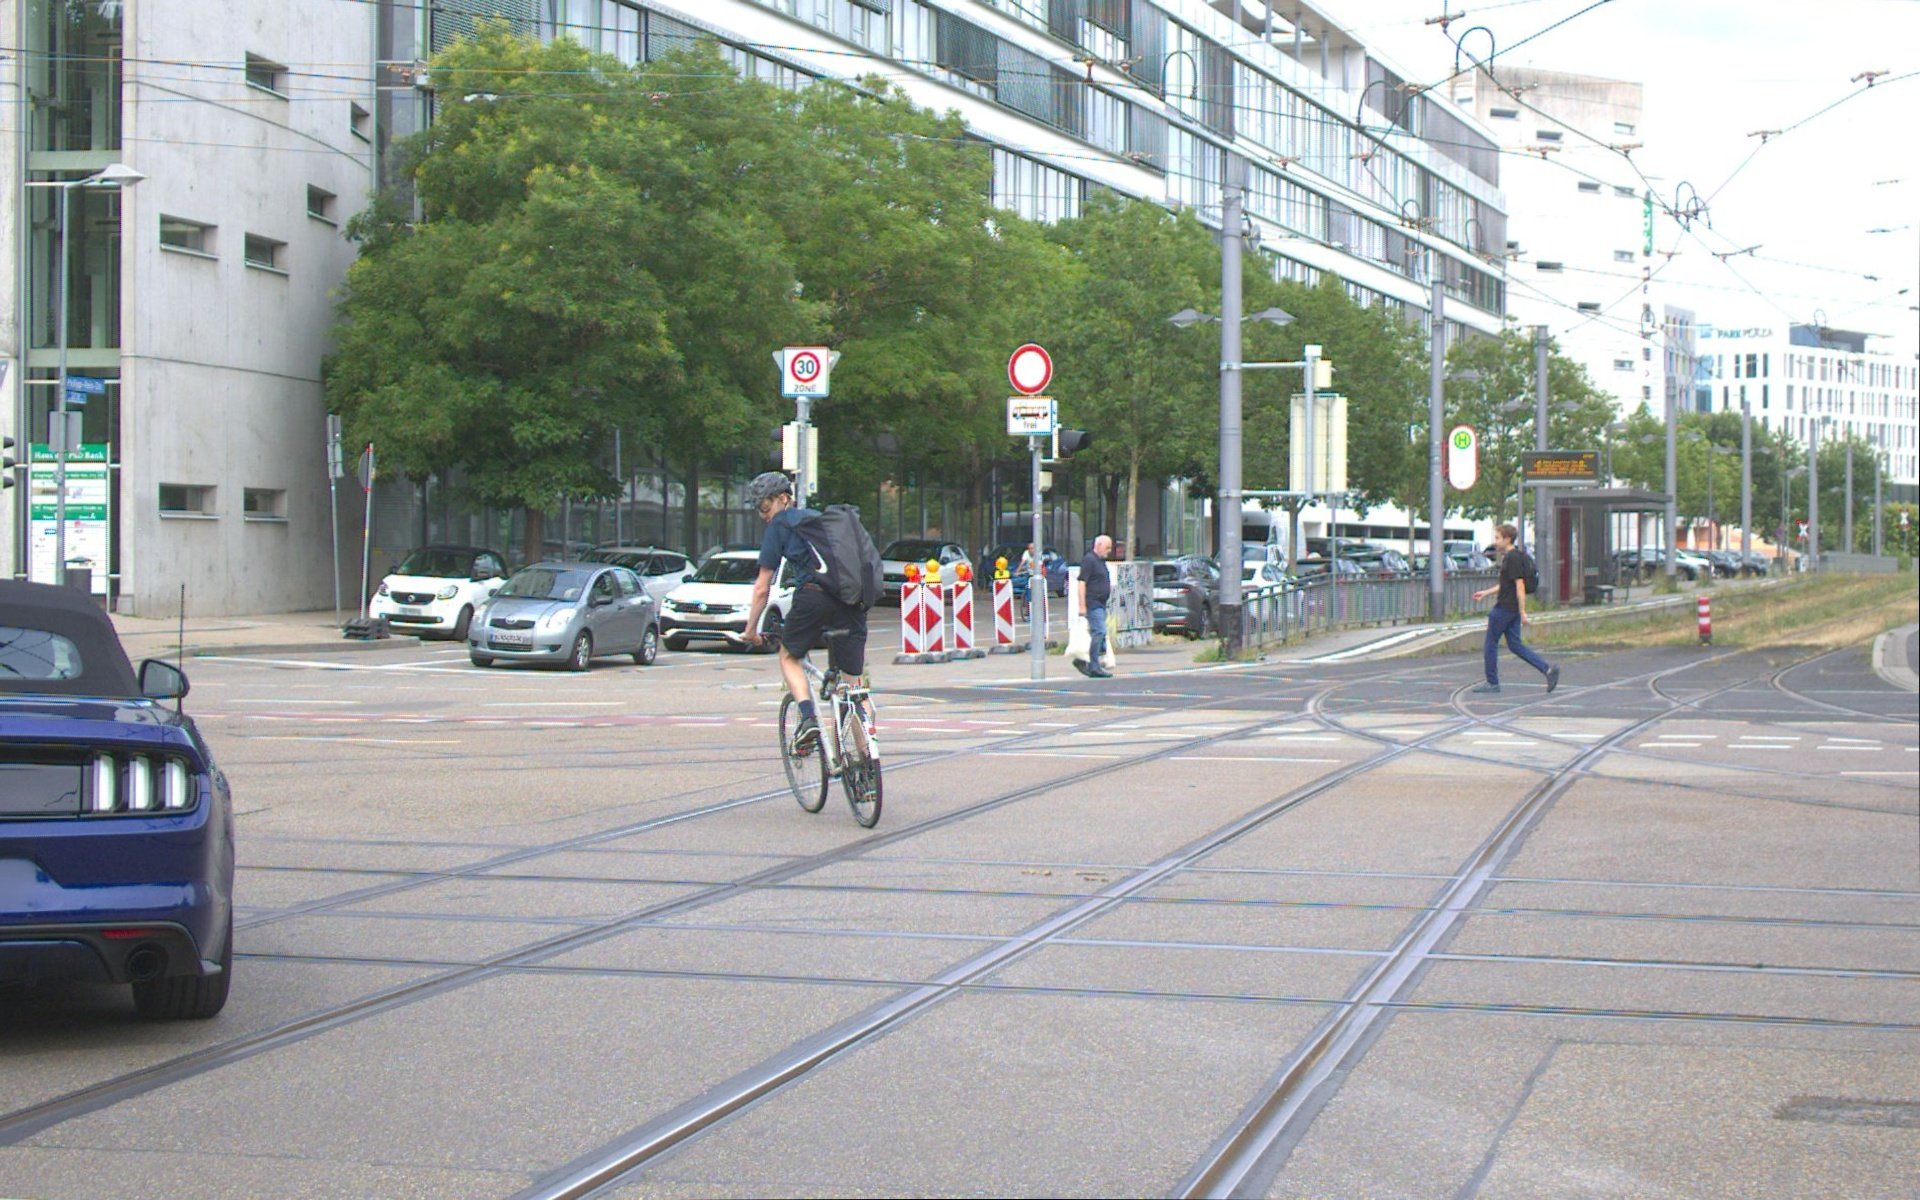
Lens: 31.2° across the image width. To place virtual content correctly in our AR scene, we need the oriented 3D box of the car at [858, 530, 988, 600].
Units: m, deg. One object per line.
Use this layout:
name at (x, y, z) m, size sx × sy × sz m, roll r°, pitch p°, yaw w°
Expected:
car at (-0.852, -0.868, 83.283) m, size 1.987 × 1.551 × 4.509 m, roll 3°, pitch 2°, yaw 15°

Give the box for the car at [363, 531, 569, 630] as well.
car at (-8.433, -0.359, 59.019) m, size 1.831 × 1.551 × 4.213 m, roll 3°, pitch 2°, yaw 17°

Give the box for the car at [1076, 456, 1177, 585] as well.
car at (4.939, -2.338, 101.417) m, size 1.987 × 3.624 × 4.509 m, roll 3°, pitch 2°, yaw 15°

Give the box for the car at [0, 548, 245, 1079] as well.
car at (-3.586, 0.564, 11.428) m, size 1.875 × 1.399 × 4.284 m, roll -1°, pitch 2°, yaw -18°

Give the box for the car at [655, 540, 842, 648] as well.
car at (-3.481, -0.130, 57.367) m, size 1.716 × 1.654 × 4.129 m, roll 3°, pitch 2°, yaw 17°

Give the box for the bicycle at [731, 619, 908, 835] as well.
bicycle at (-0.804, 0.671, 19.057) m, size 0.800 × 1.083 × 2.132 m, roll 0°, pitch 1°, yaw -7°

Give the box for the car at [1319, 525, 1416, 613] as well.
car at (9.498, -0.736, 79.899) m, size 1.786 × 1.980 × 4.118 m, roll 0°, pitch 1°, yaw 13°

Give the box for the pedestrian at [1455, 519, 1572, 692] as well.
pedestrian at (6.133, 0.051, 38.076) m, size 1.087 × 1.891 × 0.901 m, roll 0°, pitch 1°, yaw 23°

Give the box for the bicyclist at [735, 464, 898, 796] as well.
bicyclist at (-0.810, 0.150, 19.070) m, size 0.796 × 1.779 × 1.233 m, roll 0°, pitch 1°, yaw -7°

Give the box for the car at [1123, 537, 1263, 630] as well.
car at (4.259, -0.324, 62.340) m, size 1.880 × 1.623 × 4.084 m, roll 0°, pitch 1°, yaw 13°

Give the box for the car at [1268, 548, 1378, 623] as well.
car at (7.993, -0.343, 75.385) m, size 1.869 × 1.600 × 4.210 m, roll 0°, pitch 1°, yaw 13°

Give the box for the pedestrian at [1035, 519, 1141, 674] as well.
pedestrian at (1.559, -0.054, 41.780) m, size 0.990 × 1.849 × 0.900 m, roll 1°, pitch 1°, yaw 29°

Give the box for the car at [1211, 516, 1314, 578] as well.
car at (8.295, -1.446, 94.094) m, size 1.905 × 1.580 × 4.178 m, roll 3°, pitch 2°, yaw 17°

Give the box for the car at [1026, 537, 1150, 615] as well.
car at (2.903, -0.560, 77.200) m, size 1.716 × 1.654 × 4.129 m, roll 3°, pitch 2°, yaw 17°

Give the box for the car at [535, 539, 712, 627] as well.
car at (-6.405, -0.348, 65.931) m, size 1.831 × 1.551 × 4.213 m, roll 3°, pitch 2°, yaw 17°

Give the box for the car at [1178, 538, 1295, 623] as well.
car at (5.462, -0.402, 67.554) m, size 1.705 × 1.600 × 4.076 m, roll 0°, pitch 1°, yaw 13°

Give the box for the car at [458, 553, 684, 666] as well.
car at (-5.623, 0.103, 50.203) m, size 1.669 × 1.501 × 4.231 m, roll 3°, pitch 2°, yaw 17°
